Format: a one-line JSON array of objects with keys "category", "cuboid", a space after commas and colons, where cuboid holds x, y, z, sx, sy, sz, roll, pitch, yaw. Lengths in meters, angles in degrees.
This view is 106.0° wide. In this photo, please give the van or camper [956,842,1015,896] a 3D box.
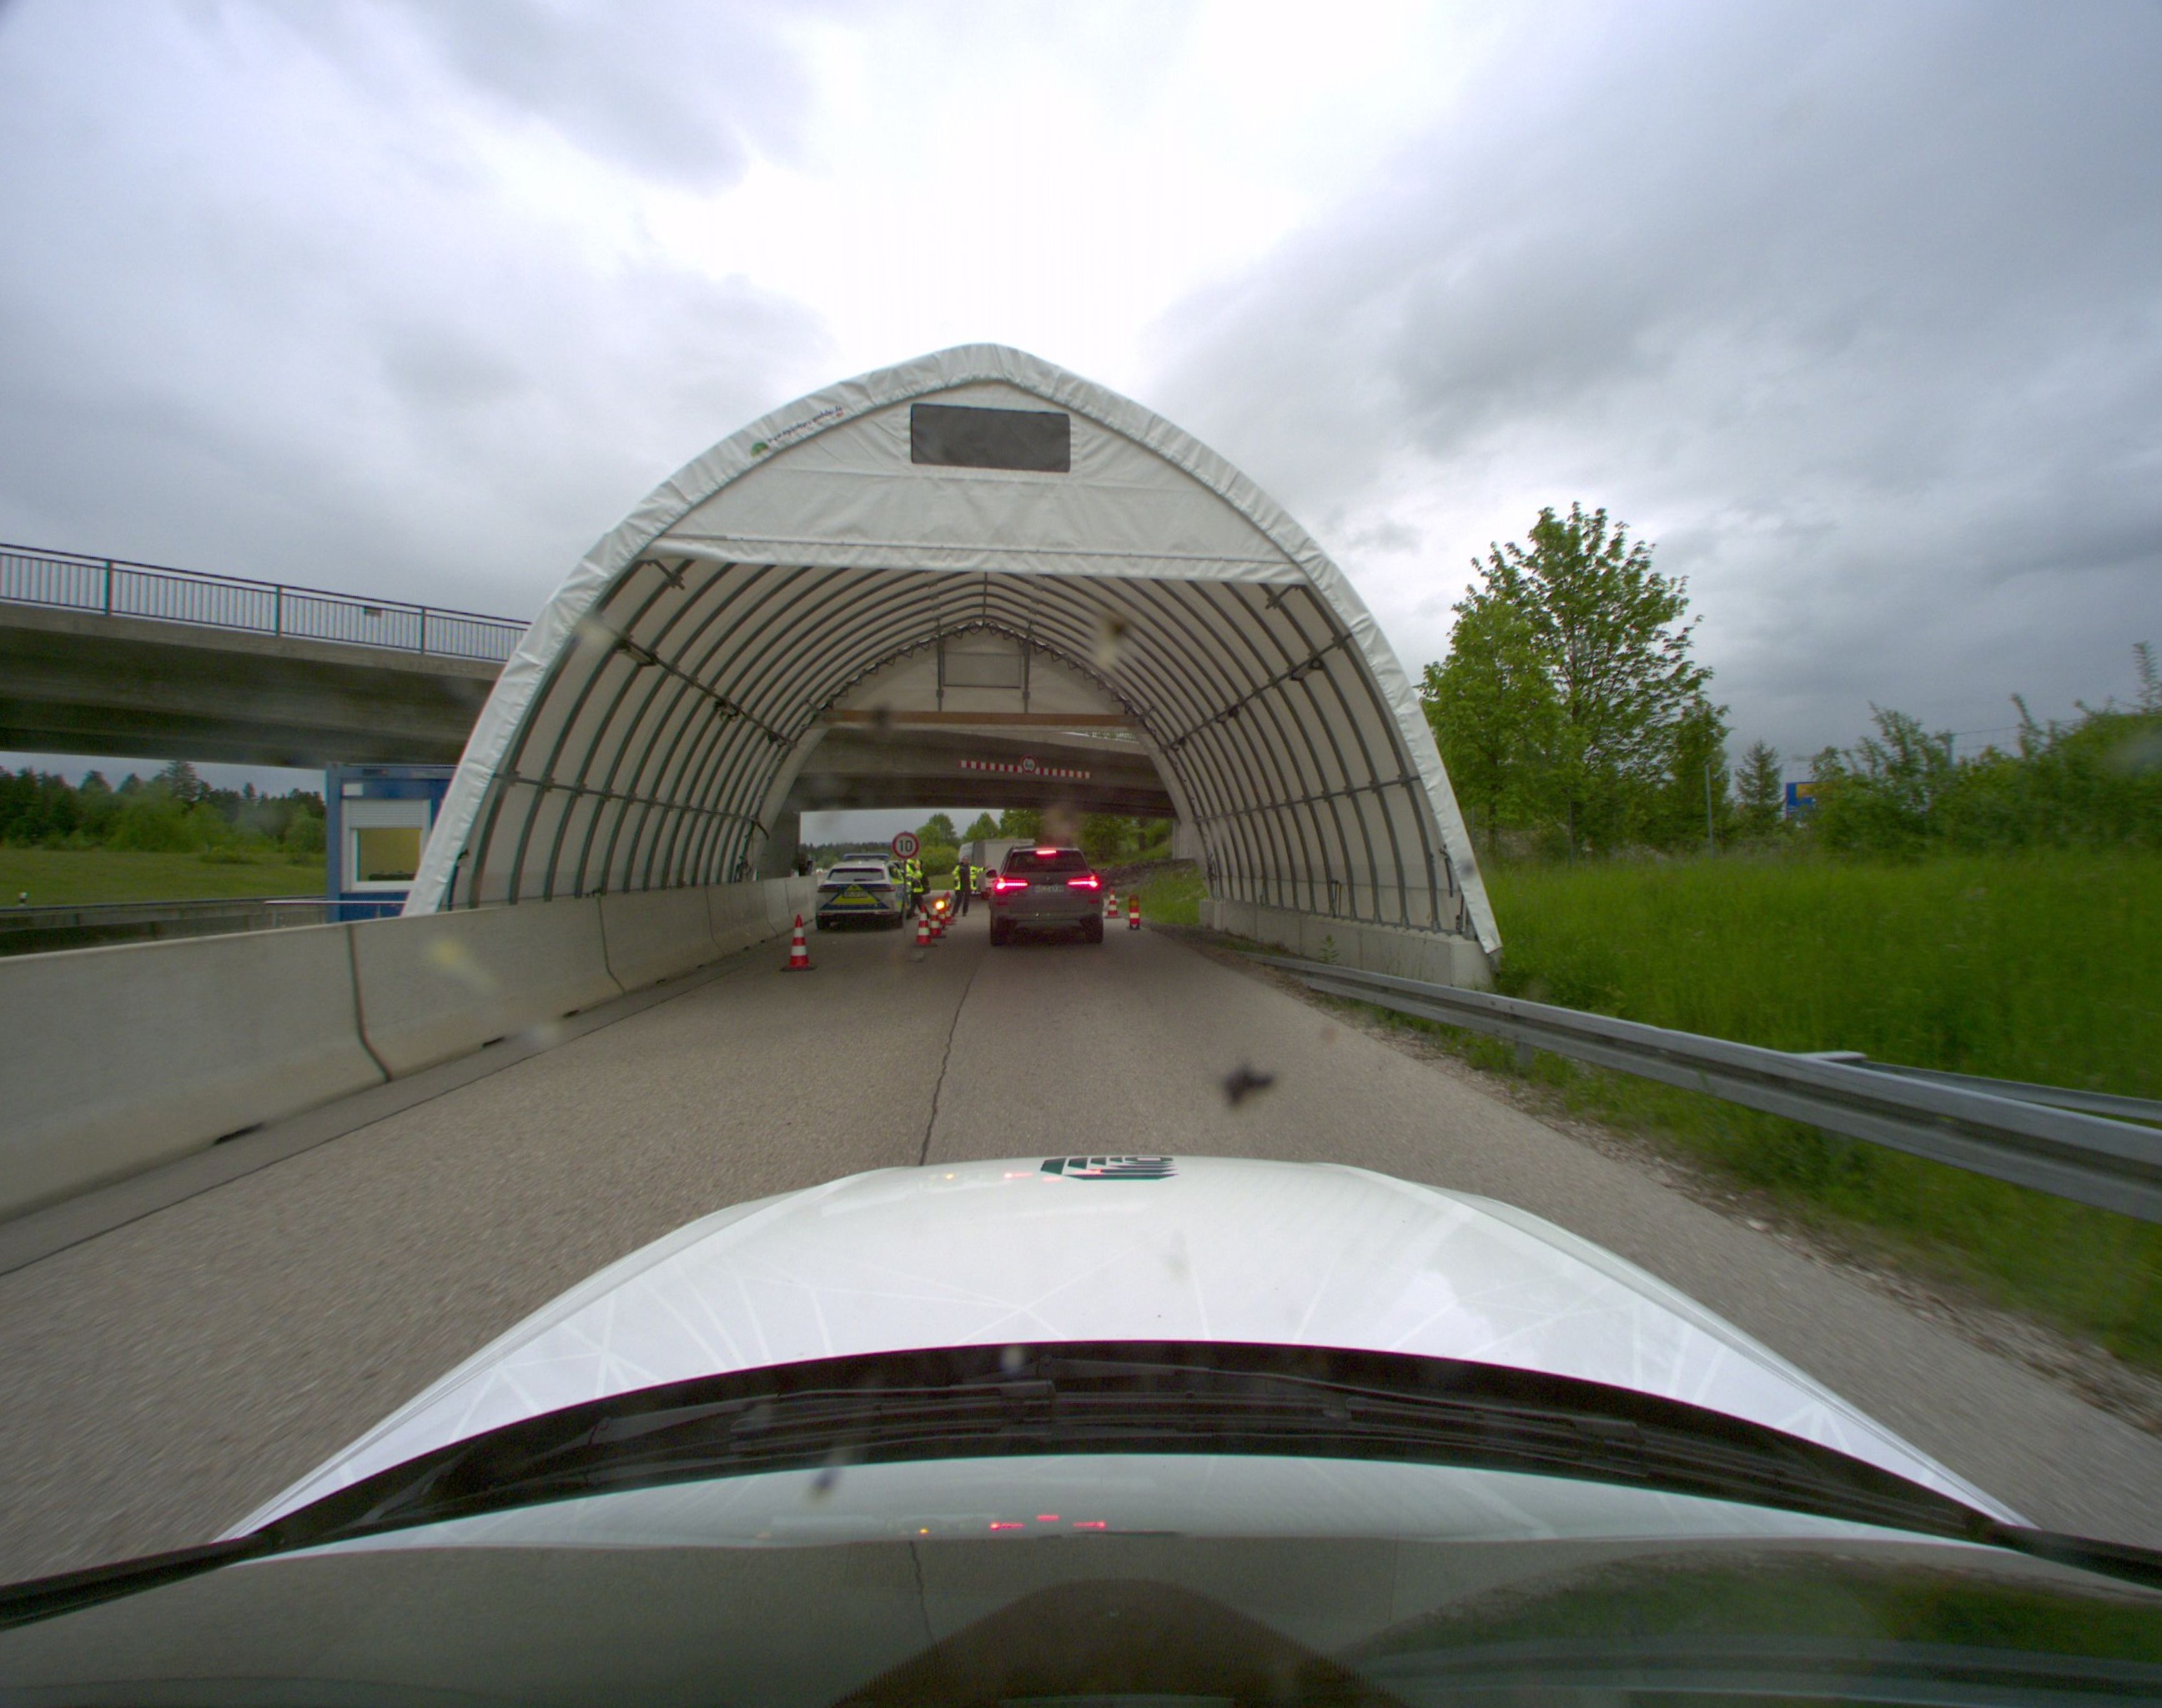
[{"category": "van or camper", "cuboid": [-4.973, 0.762, 41.585, 2.108, 2.519, 5.521, -1, -1, -16]}]

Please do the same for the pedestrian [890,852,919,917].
[{"category": "pedestrian", "cuboid": [-4.849, 0.828, 22.385, 0.607, 1.754, 0.666, -2, -1, -2]}]

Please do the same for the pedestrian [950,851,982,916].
[{"category": "pedestrian", "cuboid": [-3.164, 0.787, 22.353, 0.780, 1.722, 0.754, -2, -1, -11]}]

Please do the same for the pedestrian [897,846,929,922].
[{"category": "pedestrian", "cuboid": [-4.387, 0.780, 21.325, 0.749, 1.919, 0.760, -2, -1, -11]}]

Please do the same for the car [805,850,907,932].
[{"category": "car", "cuboid": [-5.163, 0.801, 19.181, 1.878, 1.646, 3.986, -2, -1, -10]}]

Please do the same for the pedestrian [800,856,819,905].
[{"category": "pedestrian", "cuboid": [-11.519, 1.118, 34.552, 0.625, 2.014, 0.653, -2, -1, -12]}]

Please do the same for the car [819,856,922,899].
[{"category": "car", "cuboid": [-10.828, 1.199, 41.994, 4.774, 2.014, 1.847, -2, -1, 11]}]

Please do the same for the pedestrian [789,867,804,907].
[{"category": "pedestrian", "cuboid": [-11.263, 1.314, 32.213, 0.503, 1.546, 0.460, -1, -1, -16]}]

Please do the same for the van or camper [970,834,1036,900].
[{"category": "van or camper", "cuboid": [-3.552, 0.573, 35.704, 2.231, 2.552, 6.586, -2, -1, -11]}]

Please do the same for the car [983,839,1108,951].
[{"category": "car", "cuboid": [-0.734, 0.682, 15.340, 1.990, 1.765, 3.993, -2, -1, -5]}]
